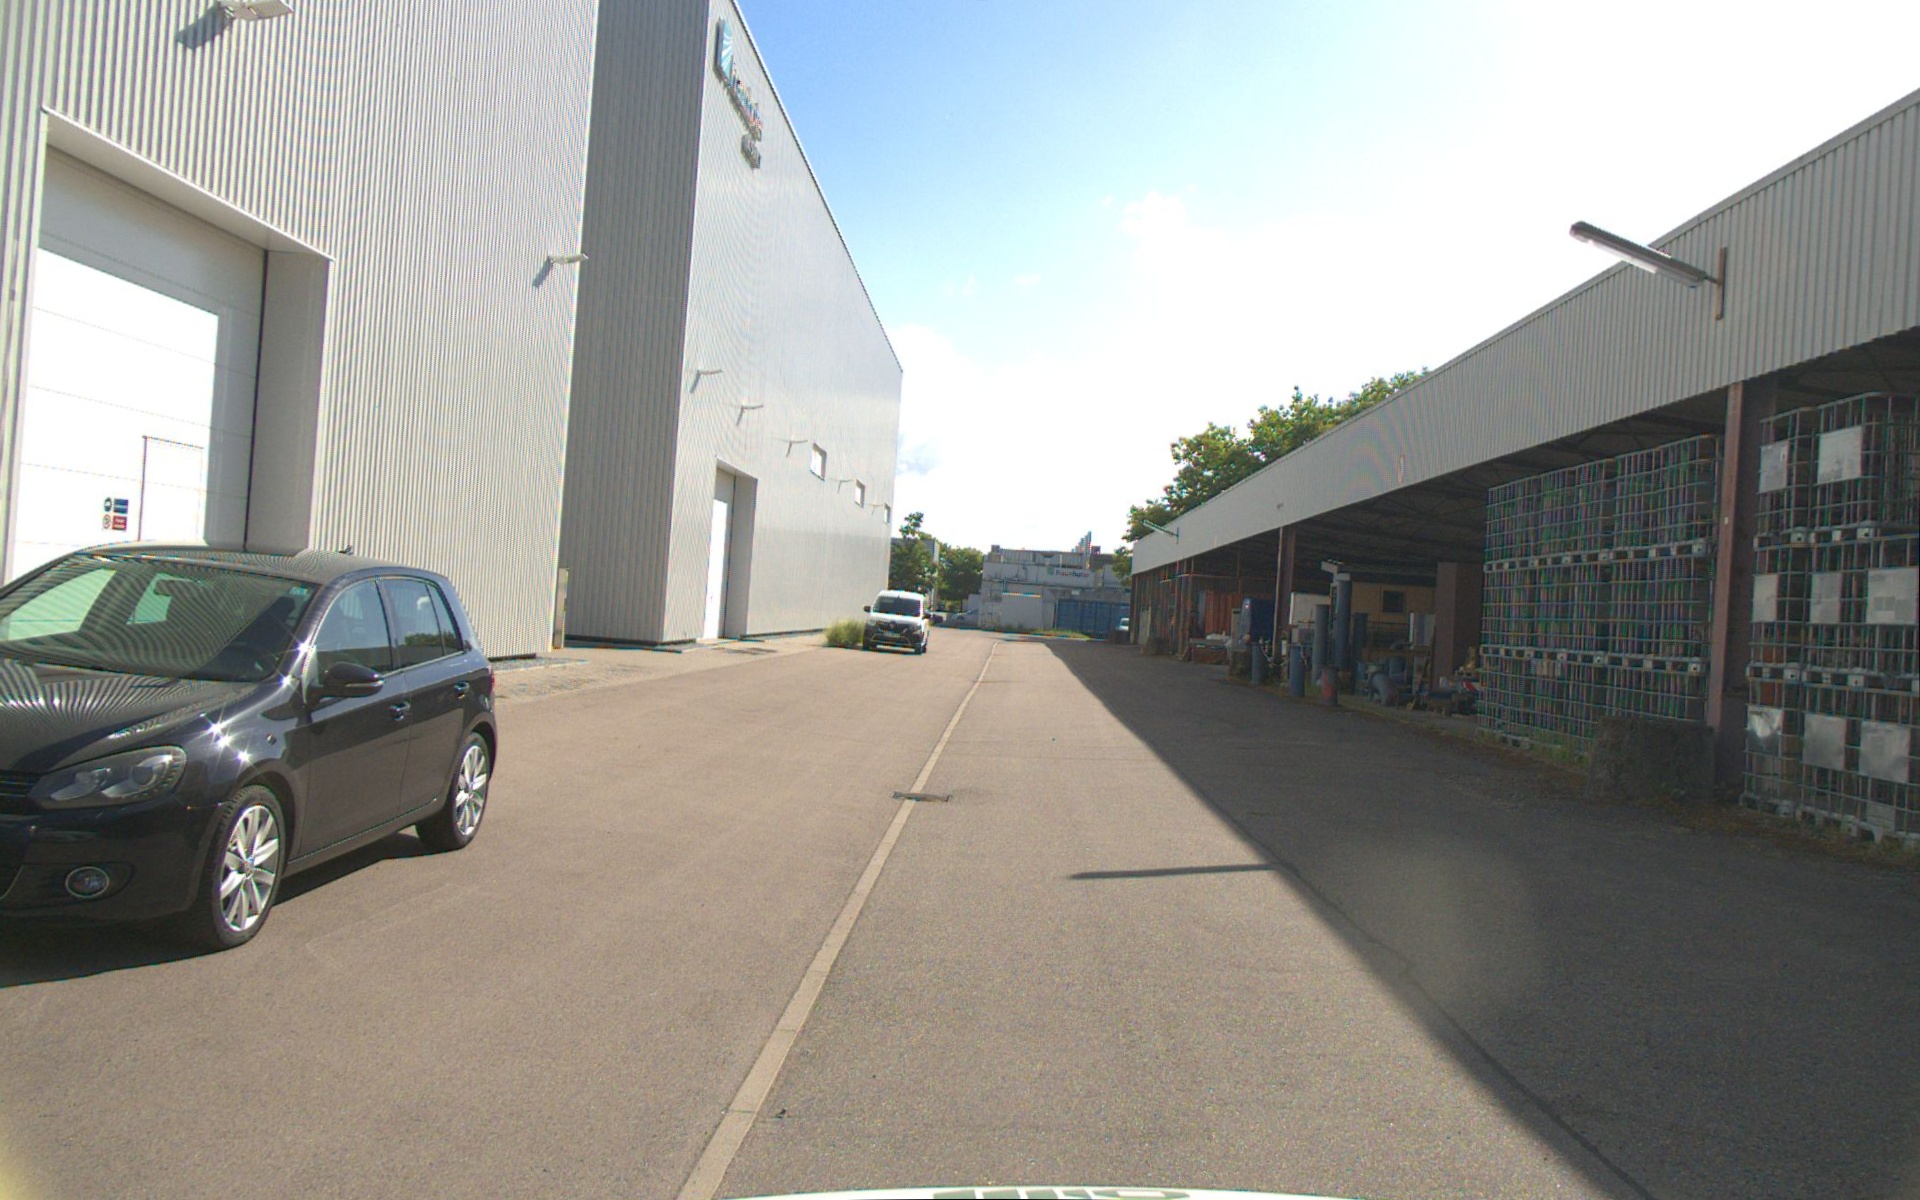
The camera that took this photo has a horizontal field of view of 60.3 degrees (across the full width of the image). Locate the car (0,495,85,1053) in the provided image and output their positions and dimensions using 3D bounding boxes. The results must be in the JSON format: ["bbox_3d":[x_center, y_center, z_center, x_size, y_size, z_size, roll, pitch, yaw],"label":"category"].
[{"bbox_3d":[-3.374,0.388,2.638,1.598,1.525,4.095,6,0,1],"label":"car"}]

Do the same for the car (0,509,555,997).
[{"bbox_3d":[-3.364,0.456,7.534,1.719,1.526,4.295,6,0,2],"label":"car"}]

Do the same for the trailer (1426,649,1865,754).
[{"bbox_3d":[10.219,1.501,25.006,5.728,1.153,2.141,3,0,0],"label":"trailer"}]

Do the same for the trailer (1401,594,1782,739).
[{"bbox_3d":[10.636,1.089,28.210,5.646,2.067,2.078,3,0,3],"label":"trailer"}]

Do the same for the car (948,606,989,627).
[{"bbox_3d":[0.820,1.596,160.375,3.906,1.625,1.848,5,-2,0],"label":"car"}]

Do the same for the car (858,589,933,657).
[{"bbox_3d":[-1.915,0.679,50.293,1.781,1.818,4.406,5,0,2],"label":"car"}]

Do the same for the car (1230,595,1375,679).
[{"bbox_3d":[11.408,1.258,55.248,4.342,2.349,1.916,5,-2,2],"label":"car"}]

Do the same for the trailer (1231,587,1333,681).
[{"bbox_3d":[9.032,0.947,46.525,2.471,2.440,1.727,4,-1,2],"label":"trailer"}]
